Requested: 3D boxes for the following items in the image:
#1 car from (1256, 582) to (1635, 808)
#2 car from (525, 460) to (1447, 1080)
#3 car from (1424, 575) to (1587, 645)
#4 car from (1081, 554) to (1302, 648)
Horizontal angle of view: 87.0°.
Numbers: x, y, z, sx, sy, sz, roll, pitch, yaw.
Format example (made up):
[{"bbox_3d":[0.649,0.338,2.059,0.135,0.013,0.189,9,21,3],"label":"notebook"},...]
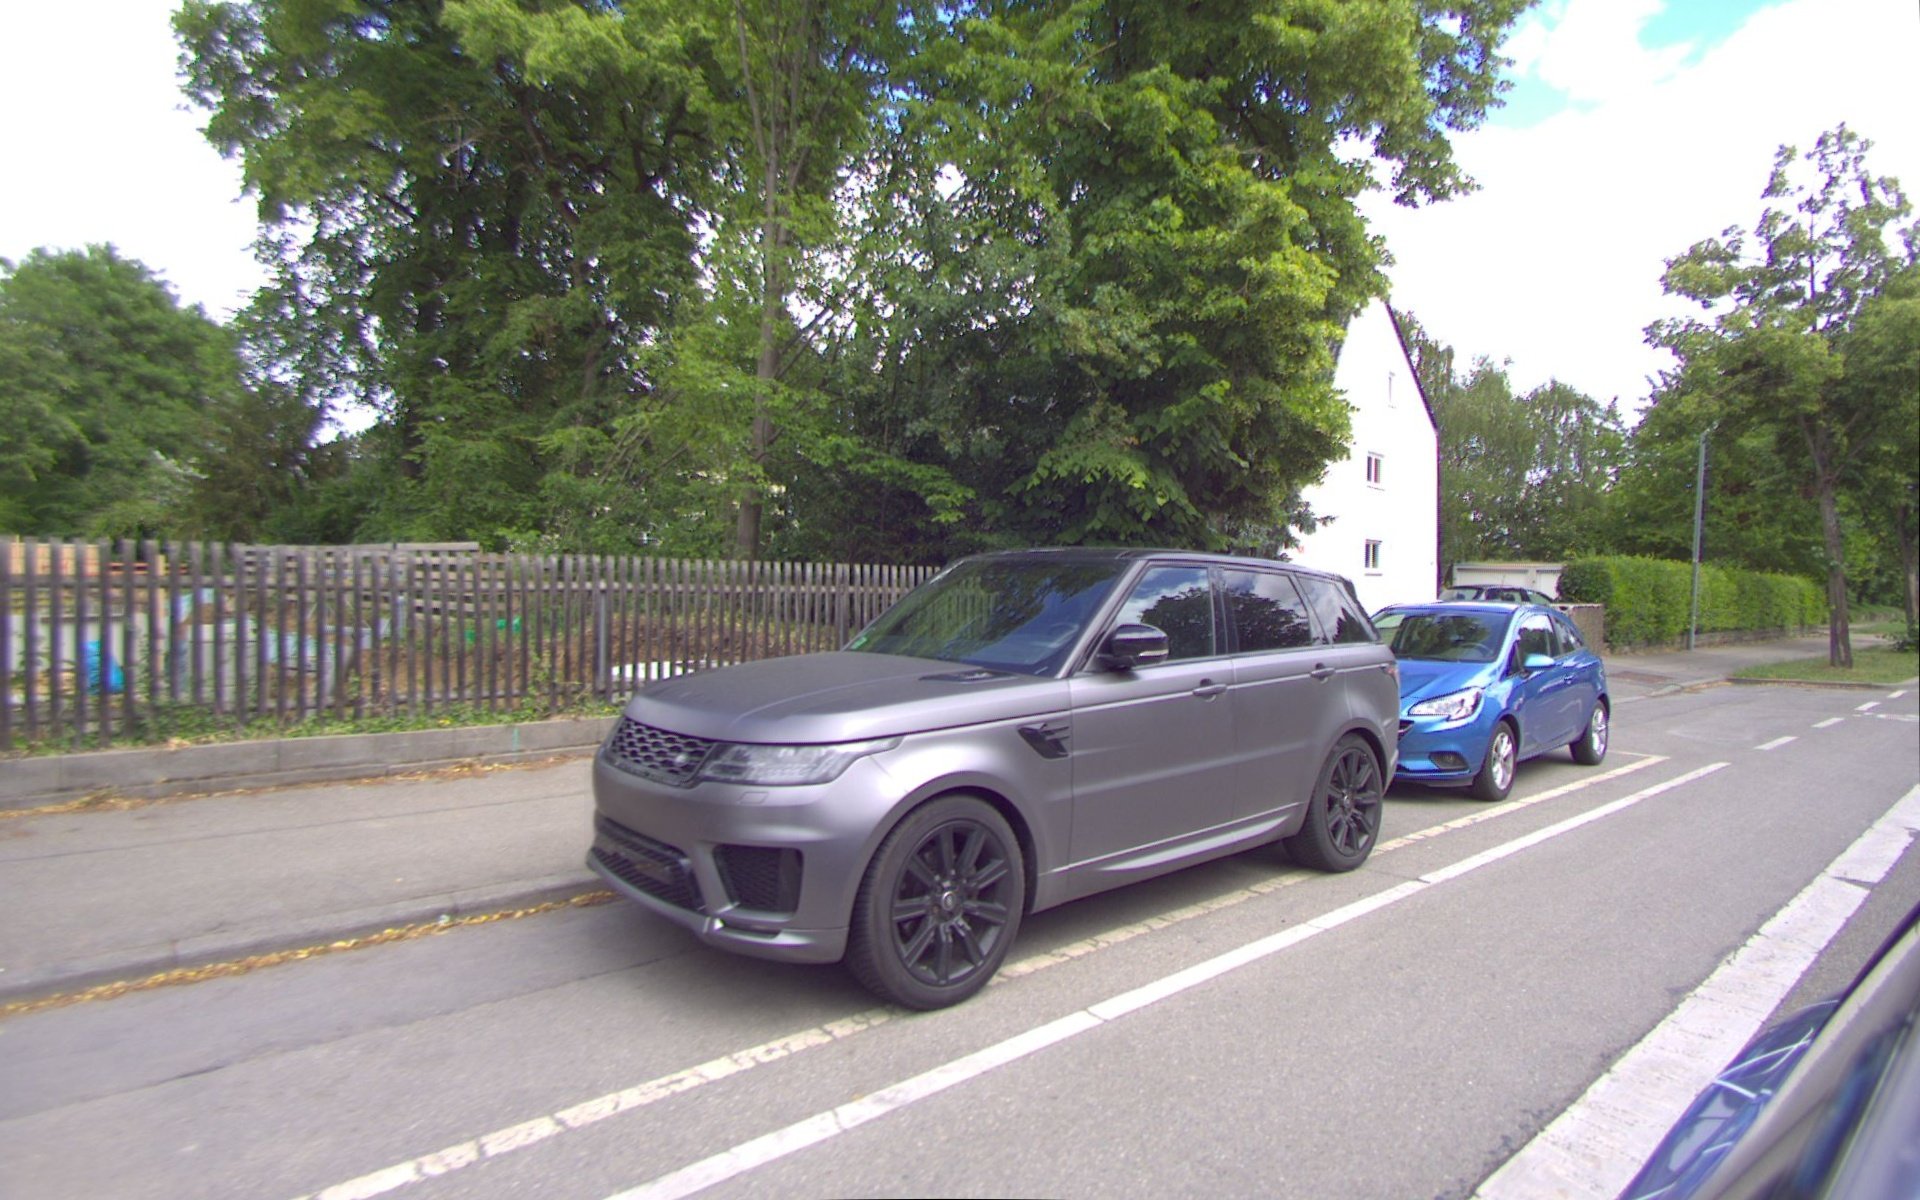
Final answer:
[{"bbox_3d":[4.342,0.610,8.784,3.855,1.520,1.687,-1,1,-43],"label":"car"},{"bbox_3d":[0.486,0.464,5.311,4.742,1.838,1.997,-1,1,-41],"label":"car"},{"bbox_3d":[13.032,0.223,24.240,3.152,1.587,1.655,1,1,-16],"label":"car"},{"bbox_3d":[4.489,-0.005,20.066,3.925,1.681,1.816,1,1,1],"label":"car"}]
